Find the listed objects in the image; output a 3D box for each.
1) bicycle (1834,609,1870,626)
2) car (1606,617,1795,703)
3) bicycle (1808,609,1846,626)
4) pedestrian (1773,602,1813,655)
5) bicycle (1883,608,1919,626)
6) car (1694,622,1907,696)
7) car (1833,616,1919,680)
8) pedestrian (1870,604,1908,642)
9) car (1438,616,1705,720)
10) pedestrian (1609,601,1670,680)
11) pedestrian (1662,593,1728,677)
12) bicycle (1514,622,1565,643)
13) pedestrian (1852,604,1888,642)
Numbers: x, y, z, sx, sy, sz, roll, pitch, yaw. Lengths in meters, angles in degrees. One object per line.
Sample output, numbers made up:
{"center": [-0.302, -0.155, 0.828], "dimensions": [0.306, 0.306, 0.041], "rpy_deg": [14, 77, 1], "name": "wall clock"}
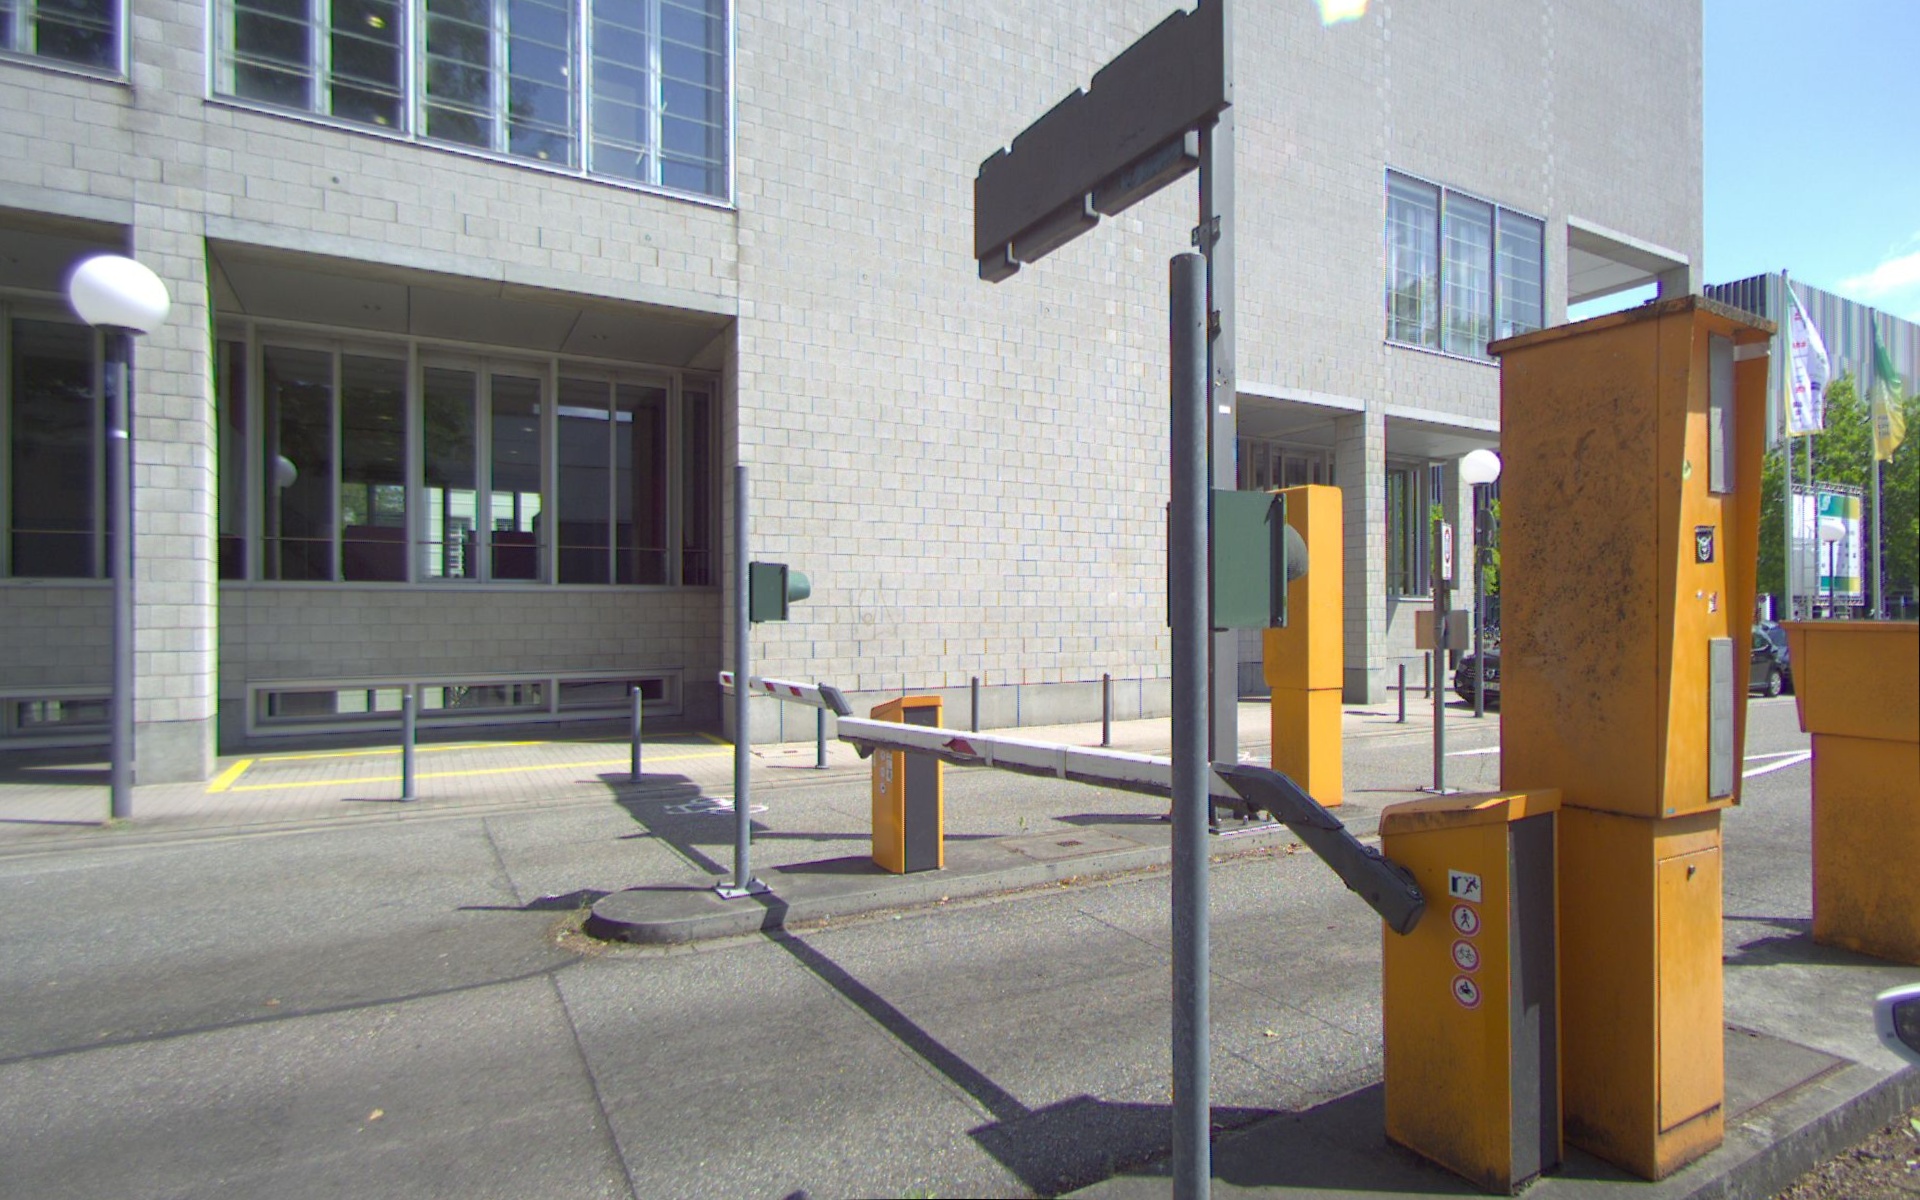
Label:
{"center": [67.955, 1.311, 76.582], "dimensions": [1.178, 1.254, 2.949], "rpy_deg": [0, 0, 24], "name": "bicycle"}
{"center": [14.516, 1.106, 19.663], "dimensions": [3.663, 1.487, 1.631], "rpy_deg": [0, 1, -30], "name": "car"}
{"center": [66.674, 1.324, 77.265], "dimensions": [1.351, 1.254, 2.949], "rpy_deg": [0, 0, 24], "name": "bicycle"}
{"center": [29.872, 1.000, 36.022], "dimensions": [1.074, 1.876, 0.717], "rpy_deg": [0, 1, -26], "name": "pedestrian"}
{"center": [70.693, 1.272, 75.393], "dimensions": [1.178, 1.254, 2.950], "rpy_deg": [0, 0, 23], "name": "bicycle"}
{"center": [18.413, 1.216, 21.955], "dimensions": [4.953, 1.397, 1.852], "rpy_deg": [0, 1, -28], "name": "car"}
{"center": [24.440, 1.176, 25.743], "dimensions": [4.144, 1.487, 1.741], "rpy_deg": [0, 1, -28], "name": "car"}
{"center": [45.330, 1.113, 49.016], "dimensions": [1.075, 1.843, 0.863], "rpy_deg": [0, -1, -6], "name": "pedestrian"}
{"center": [10.415, 1.052, 17.024], "dimensions": [4.662, 1.487, 1.850], "rpy_deg": [0, 1, -30], "name": "car"}
{"center": [18.114, 1.066, 26.788], "dimensions": [1.152, 2.040, 0.978], "rpy_deg": [0, -1, -34], "name": "pedestrian"}
{"center": [18.216, 0.855, 24.908], "dimensions": [1.152, 2.040, 0.978], "rpy_deg": [0, -1, -34], "name": "pedestrian"}
{"center": [33.665, 1.863, 58.407], "dimensions": [0.657, 1.128, 2.595], "rpy_deg": [1, 0, -31], "name": "bicycle"}
{"center": [45.501, 1.145, 50.235], "dimensions": [0.987, 1.901, 0.854], "rpy_deg": [0, -1, -7], "name": "pedestrian"}
